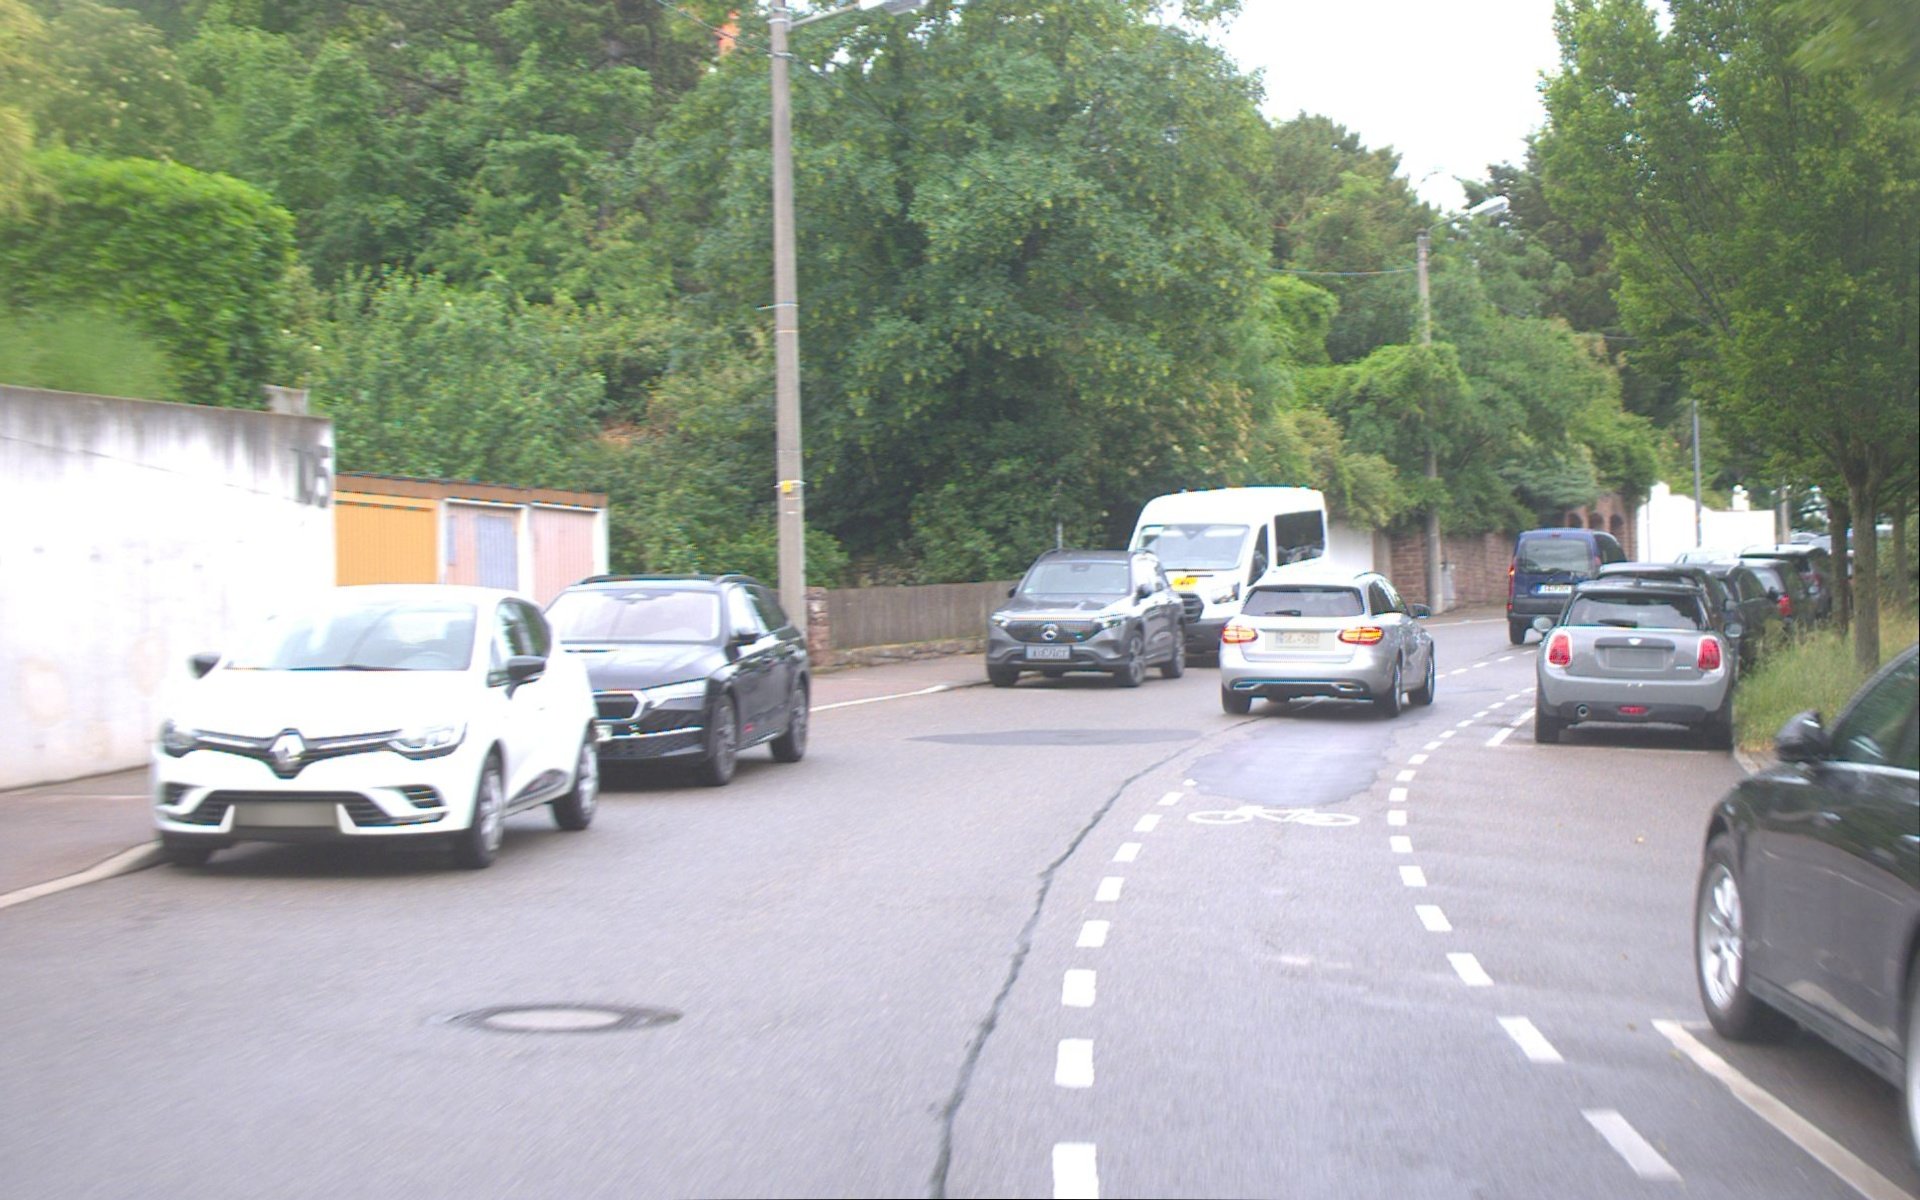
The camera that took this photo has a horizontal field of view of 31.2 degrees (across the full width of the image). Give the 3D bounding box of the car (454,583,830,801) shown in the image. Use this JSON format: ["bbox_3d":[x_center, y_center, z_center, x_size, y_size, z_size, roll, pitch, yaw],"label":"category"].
[{"bbox_3d":[-2.243,0.611,25.538,1.713,1.454,4.681,0,0,8],"label":"car"}]

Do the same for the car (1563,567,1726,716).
[{"bbox_3d":[7.605,0.421,38.034,1.627,1.557,3.020,1,1,14],"label":"car"}]

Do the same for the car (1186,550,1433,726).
[{"bbox_3d":[3.699,0.356,35.746,2.026,1.702,4.213,0,0,13],"label":"car"}]

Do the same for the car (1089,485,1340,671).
[{"bbox_3d":[3.835,-0.367,50.532,2.096,2.541,6.091,-1,1,20],"label":"car"}]

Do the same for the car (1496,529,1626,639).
[{"bbox_3d":[9.692,-0.262,55.675,1.994,1.702,3.999,0,0,9],"label":"car"}]

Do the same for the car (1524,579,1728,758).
[{"bbox_3d":[6.078,0.569,31.190,1.669,1.466,3.708,2,1,12],"label":"car"}]

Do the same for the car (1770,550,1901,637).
[{"bbox_3d":[15.898,-0.146,62.302,1.651,1.476,4.015,1,1,24],"label":"car"}]

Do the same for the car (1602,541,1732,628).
[{"bbox_3d":[14.412,-0.313,69.956,1.995,1.702,3.996,0,0,21],"label":"car"}]

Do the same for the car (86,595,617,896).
[{"bbox_3d":[-3.186,0.713,18.840,1.832,1.435,4.039,-1,0,6],"label":"car"}]

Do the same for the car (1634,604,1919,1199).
[{"bbox_3d":[3.299,0.805,9.818,1.862,1.464,5.056,2,1,2],"label":"car"}]

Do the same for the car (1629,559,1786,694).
[{"bbox_3d":[9.039,0.274,41.403,1.655,1.514,3.997,1,1,15],"label":"car"}]

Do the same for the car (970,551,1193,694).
[{"bbox_3d":[1.595,0.242,43.261,1.897,1.685,4.543,-1,0,14],"label":"car"}]

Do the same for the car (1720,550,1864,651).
[{"bbox_3d":[13.907,-0.027,57.341,1.716,1.550,4.159,2,2,22],"label":"car"}]

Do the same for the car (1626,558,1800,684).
[{"bbox_3d":[10.177,0.237,46.249,1.777,1.547,4.724,1,1,18],"label":"car"}]

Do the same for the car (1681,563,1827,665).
[{"bbox_3d":[12.116,0.177,52.324,1.644,1.419,4.283,2,1,20],"label":"car"}]

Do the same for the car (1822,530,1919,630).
[{"bbox_3d":[18.025,-0.424,66.956,1.780,1.845,4.420,1,2,22],"label":"car"}]
